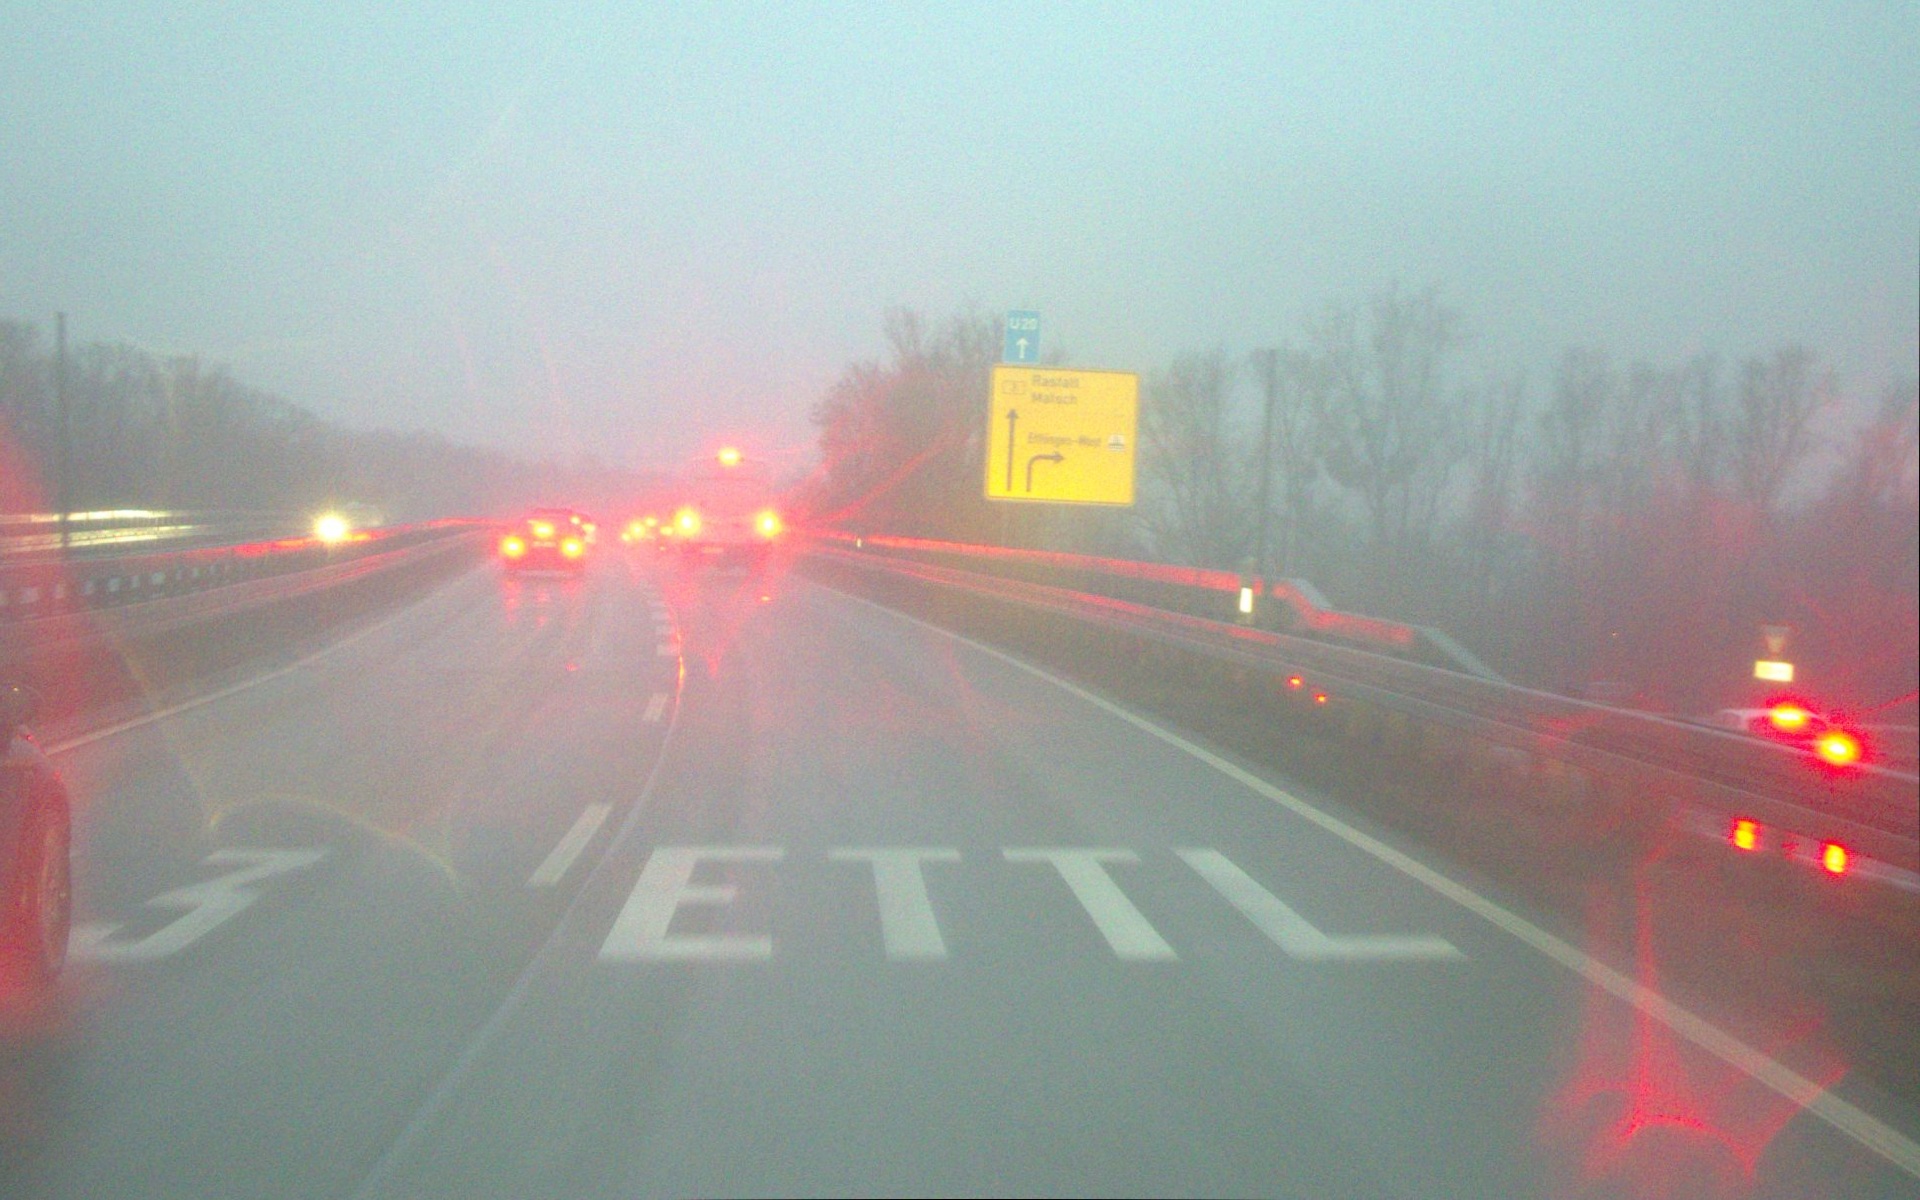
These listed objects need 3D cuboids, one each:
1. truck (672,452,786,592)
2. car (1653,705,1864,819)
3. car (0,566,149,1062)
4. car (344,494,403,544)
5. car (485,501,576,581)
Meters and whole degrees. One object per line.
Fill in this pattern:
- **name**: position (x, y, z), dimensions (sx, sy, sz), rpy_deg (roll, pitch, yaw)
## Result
- **truck**: position (-5.287, -1.725, 78.017), dimensions (2.382, 2.899, 4.674), rpy_deg (1, -2, -6)
- **car**: position (11.613, 2.339, 50.272), dimensions (1.676, 1.277, 4.001), rpy_deg (7, 0, -6)
- **car**: position (-3.598, 0.608, 10.398), dimensions (1.625, 1.387, 4.001), rpy_deg (0, 1, -4)
- **car**: position (-18.165, -2.493, 106.352), dimensions (1.678, 1.401, 4.507), rpy_deg (0, 0, -11)
- **car**: position (-9.416, -1.273, 75.594), dimensions (1.834, 1.532, 4.000), rpy_deg (2, -2, -6)
